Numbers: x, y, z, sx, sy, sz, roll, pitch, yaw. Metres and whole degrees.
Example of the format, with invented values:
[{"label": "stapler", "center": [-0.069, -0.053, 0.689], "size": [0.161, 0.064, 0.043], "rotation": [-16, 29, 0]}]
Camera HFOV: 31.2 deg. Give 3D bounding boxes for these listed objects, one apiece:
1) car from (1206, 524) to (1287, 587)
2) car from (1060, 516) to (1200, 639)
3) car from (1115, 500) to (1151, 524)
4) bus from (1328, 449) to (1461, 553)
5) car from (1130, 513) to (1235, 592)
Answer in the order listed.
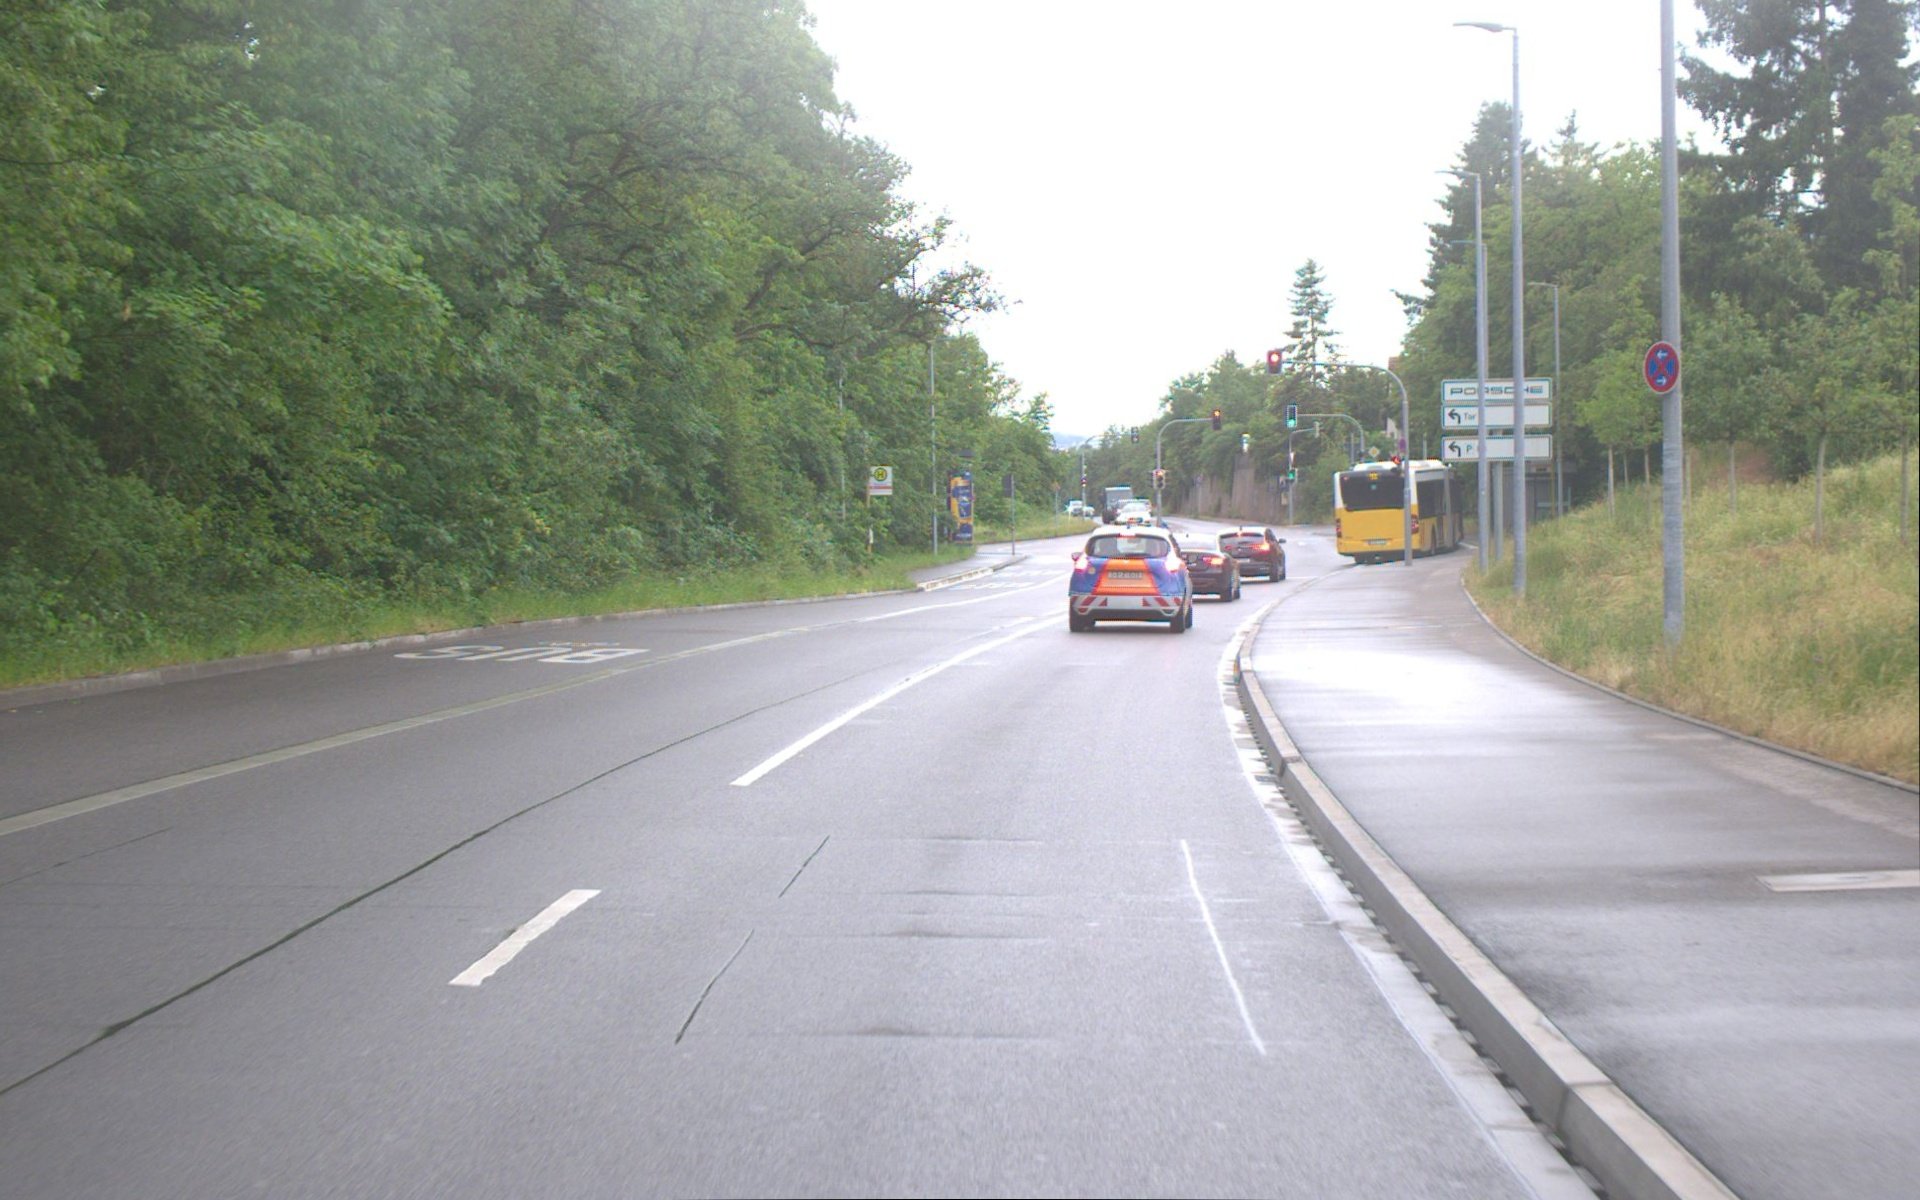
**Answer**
[{"label": "car", "center": [7.247, -1.127, 87.264], "size": [1.994, 1.546, 4.000], "rotation": [1, 1, 4]}, {"label": "car", "center": [2.608, -0.376, 51.862], "size": [1.994, 1.683, 4.000], "rotation": [-1, 2, 4]}, {"label": "car", "center": [10.517, -5.331, 209.397], "size": [1.993, 1.415, 4.000], "rotation": [0, 1, 0]}, {"label": "bus", "center": [13.769, -3.053, 108.321], "size": [2.819, 3.132, 9.173], "rotation": [1, 1, 16]}, {"label": "car", "center": [4.568, -0.990, 70.163], "size": [1.927, 1.481, 3.799], "rotation": [-1, 2, 6]}]
